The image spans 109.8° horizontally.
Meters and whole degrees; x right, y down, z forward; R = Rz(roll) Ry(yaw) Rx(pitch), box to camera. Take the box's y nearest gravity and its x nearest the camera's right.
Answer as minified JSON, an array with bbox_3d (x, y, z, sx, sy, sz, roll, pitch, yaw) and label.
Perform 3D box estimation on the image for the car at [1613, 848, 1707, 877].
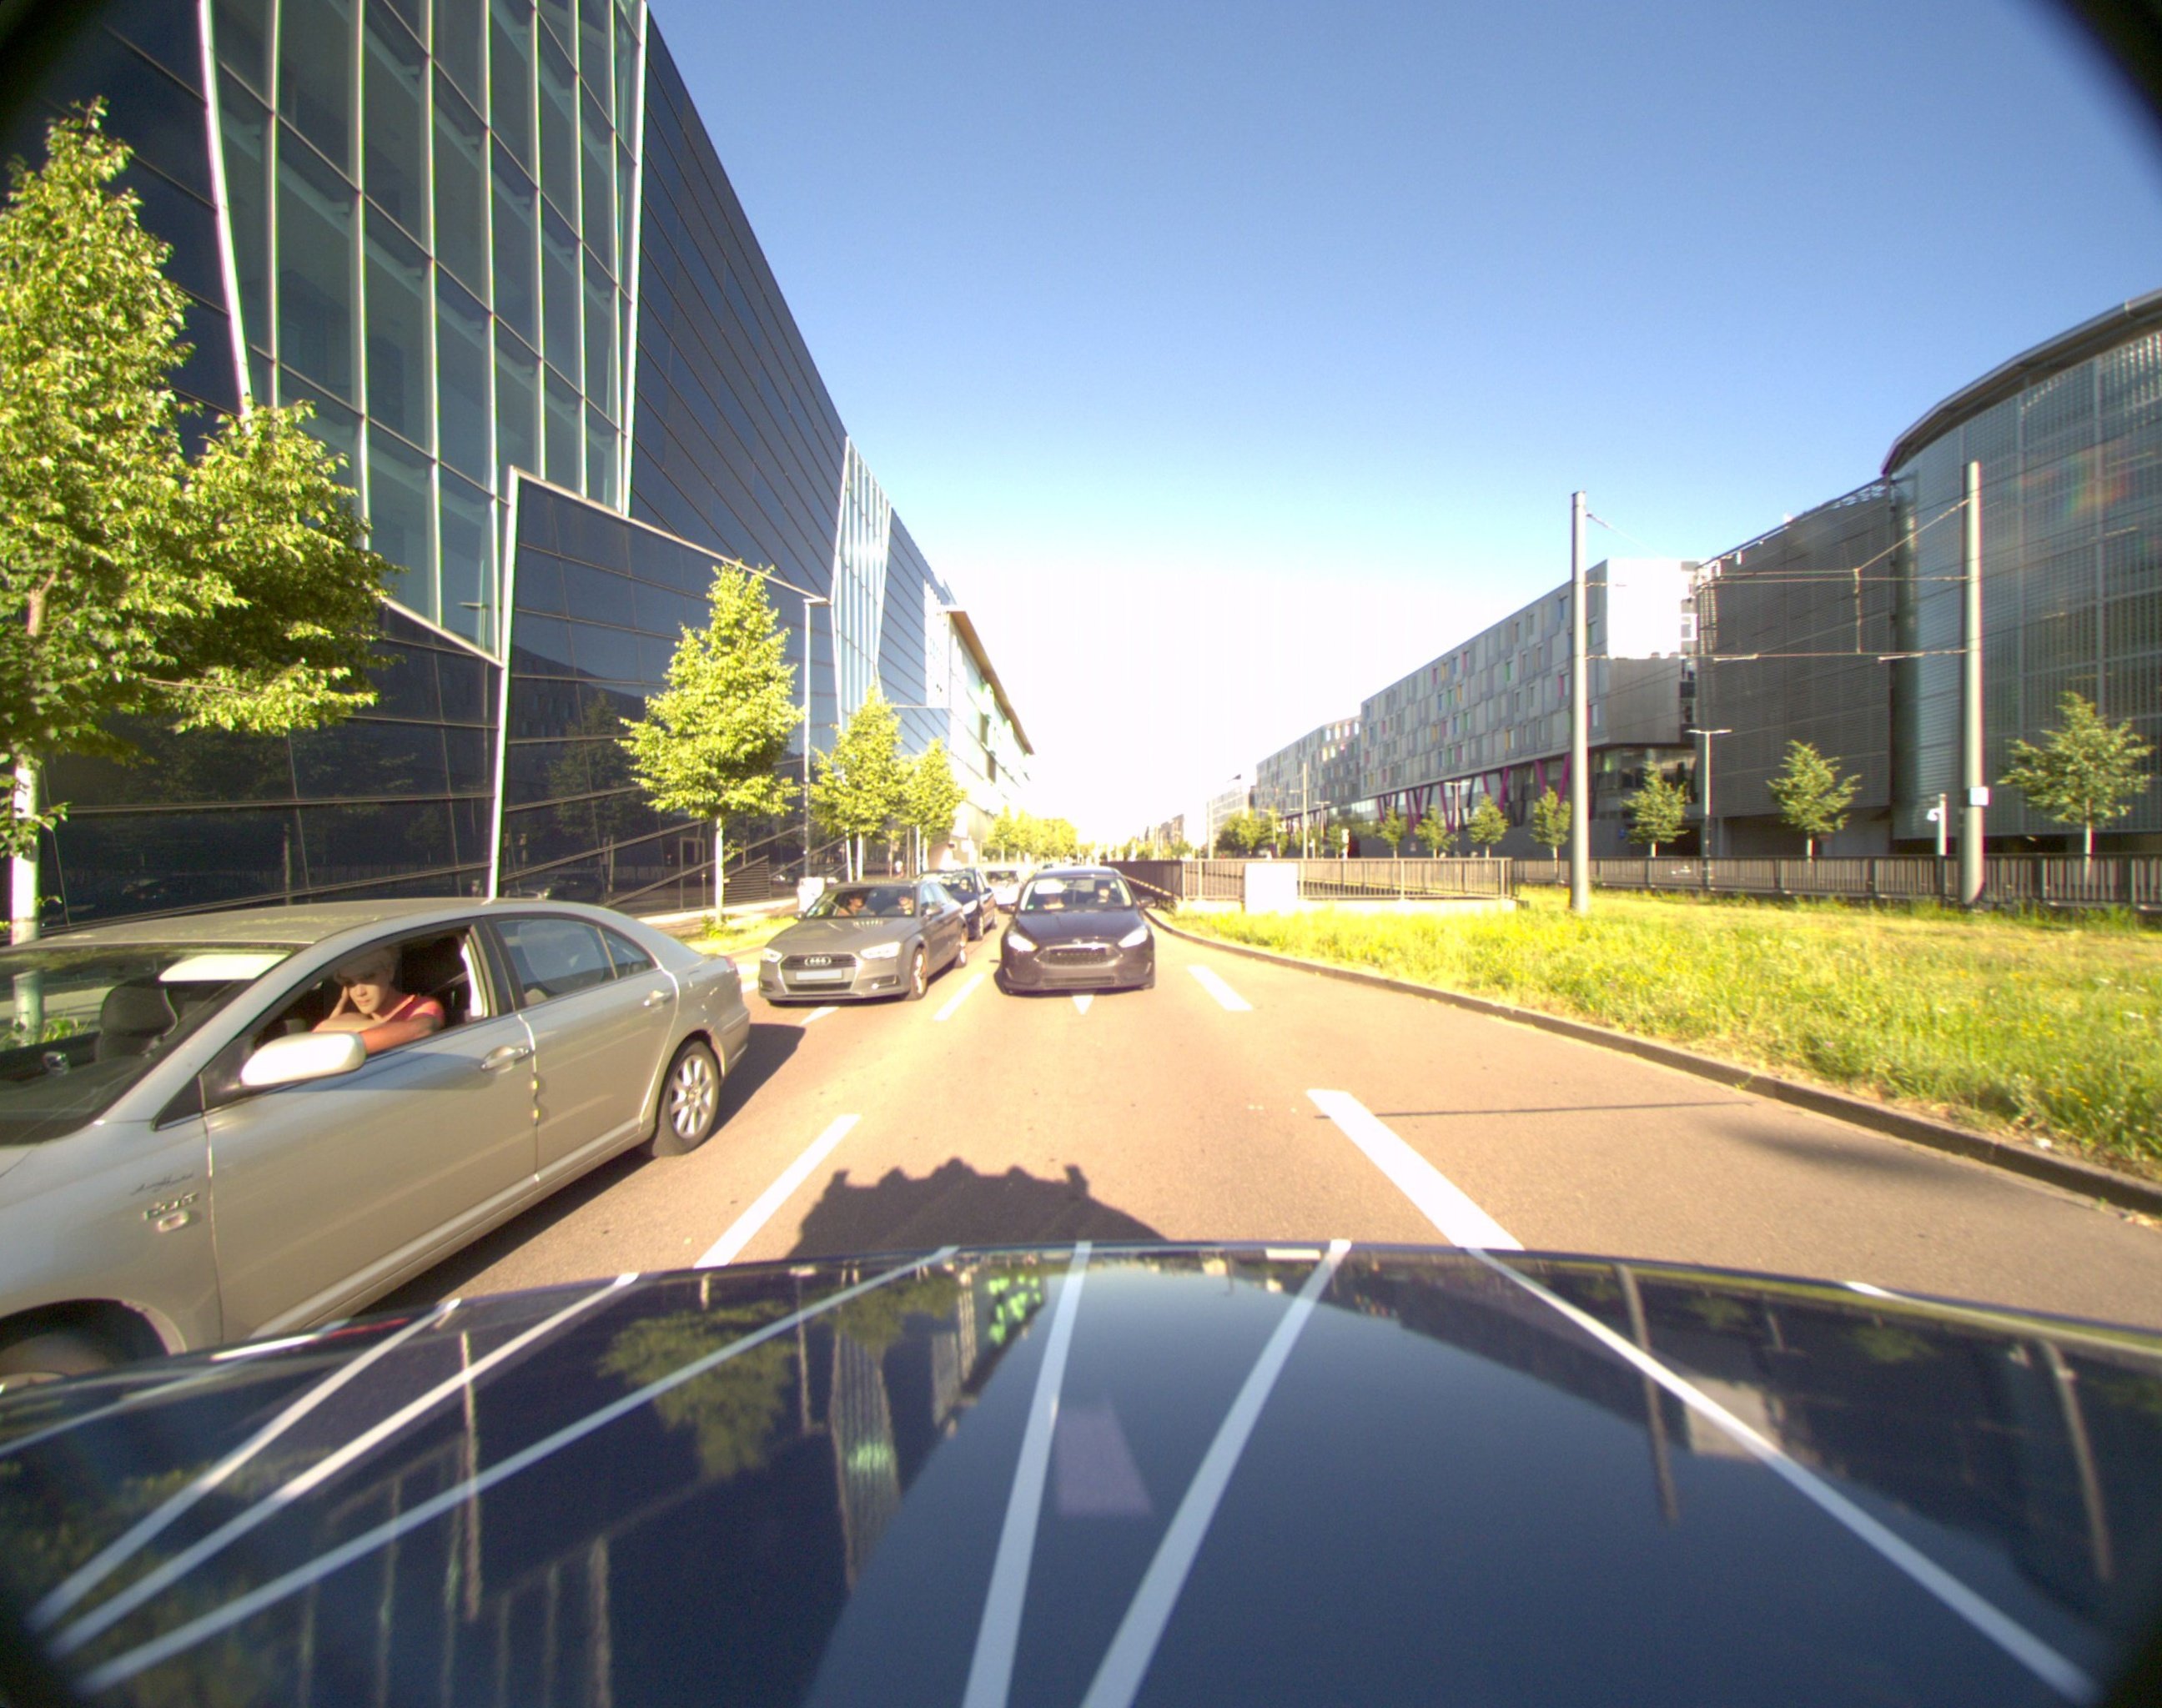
[{"bbox_3d":[31.859,0.460,41.998,1.998,1.492,4.244,-1,0,1],"label":"car"}]

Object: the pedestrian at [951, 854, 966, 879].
[{"bbox_3d":[-9.031,0.930,55.943,0.828,1.814,0.905,3,0,0],"label":"pedestrian"}]

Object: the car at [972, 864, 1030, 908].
[{"bbox_3d":[-2.928,1.139,28.442,1.753,1.469,3.418,-2,0,0],"label":"car"}]

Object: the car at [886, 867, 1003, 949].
[{"bbox_3d":[-2.811,1.070,16.513,1.753,1.469,3.972,-2,0,0],"label":"car"}]

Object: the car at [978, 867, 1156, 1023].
[{"bbox_3d":[-0.126,0.971,10.085,1.787,1.499,4.590,-2,0,0],"label":"car"}]

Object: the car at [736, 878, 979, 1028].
[{"bbox_3d":[-2.632,1.108,10.080,1.750,1.384,4.265,-2,0,3],"label":"car"}]

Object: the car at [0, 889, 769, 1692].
[{"bbox_3d":[-3.064,0.991,2.824,1.750,1.473,4.628,-1,0,2],"label":"car"}]

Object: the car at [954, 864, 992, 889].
[{"bbox_3d":[-6.931,1.405,49.087,1.740,1.489,4.715,1,0,0],"label":"car"}]

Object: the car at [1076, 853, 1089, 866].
[{"bbox_3d":[0.265,0.941,130.878,1.998,2.002,4.000,-2,0,1],"label":"car"}]

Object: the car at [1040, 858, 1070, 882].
[{"bbox_3d":[-1.805,1.087,53.161,1.907,1.612,4.000,0,0,1],"label":"car"}]
